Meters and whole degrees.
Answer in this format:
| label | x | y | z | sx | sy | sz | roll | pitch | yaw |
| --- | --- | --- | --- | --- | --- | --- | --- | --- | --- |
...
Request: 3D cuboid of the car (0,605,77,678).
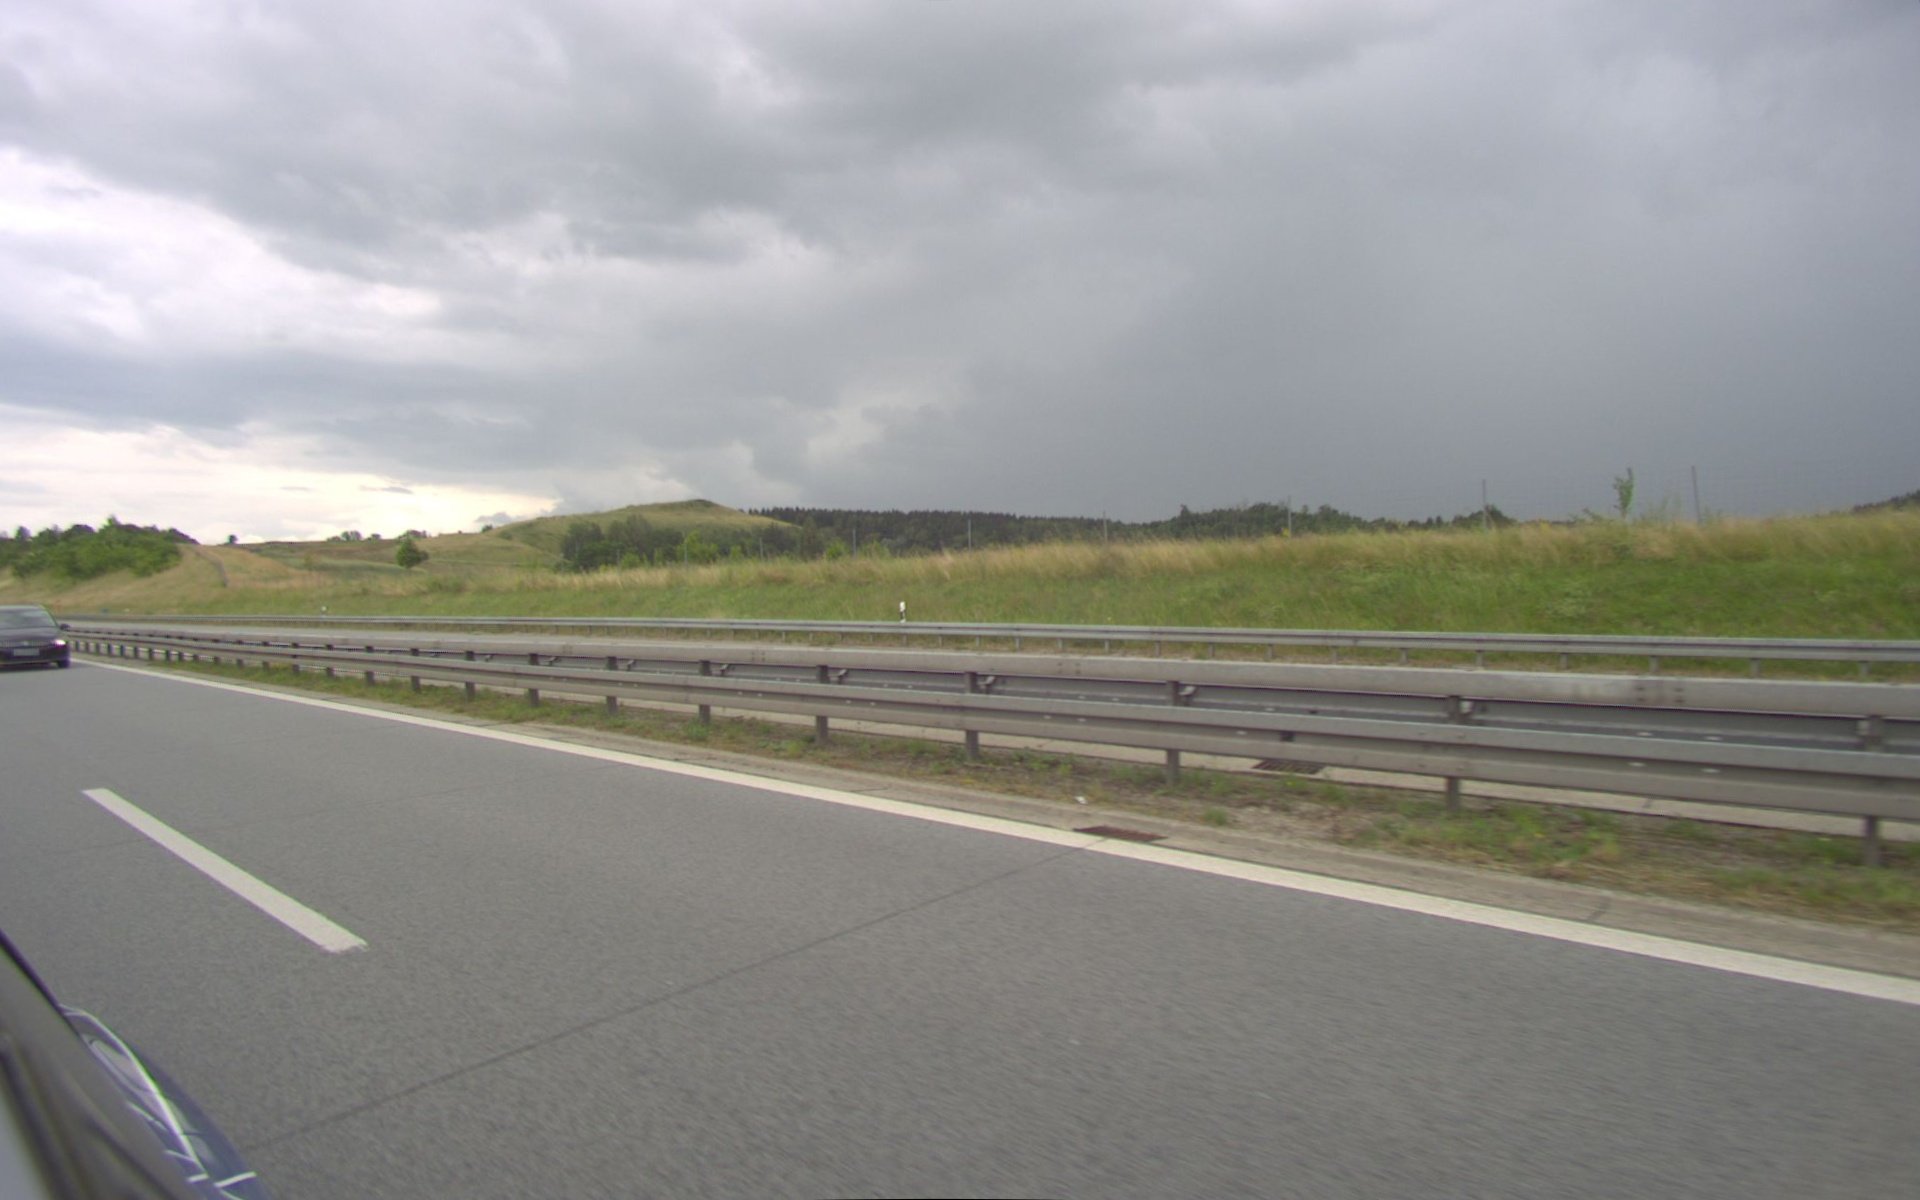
| label | x | y | z | sx | sy | sz | roll | pitch | yaw |
| --- | --- | --- | --- | --- | --- | --- | --- | --- | --- |
| car | -24.668 | 1.032 | 26.356 | 5.395 | 1.683 | 1.876 | -1 | 1 | 42 |
